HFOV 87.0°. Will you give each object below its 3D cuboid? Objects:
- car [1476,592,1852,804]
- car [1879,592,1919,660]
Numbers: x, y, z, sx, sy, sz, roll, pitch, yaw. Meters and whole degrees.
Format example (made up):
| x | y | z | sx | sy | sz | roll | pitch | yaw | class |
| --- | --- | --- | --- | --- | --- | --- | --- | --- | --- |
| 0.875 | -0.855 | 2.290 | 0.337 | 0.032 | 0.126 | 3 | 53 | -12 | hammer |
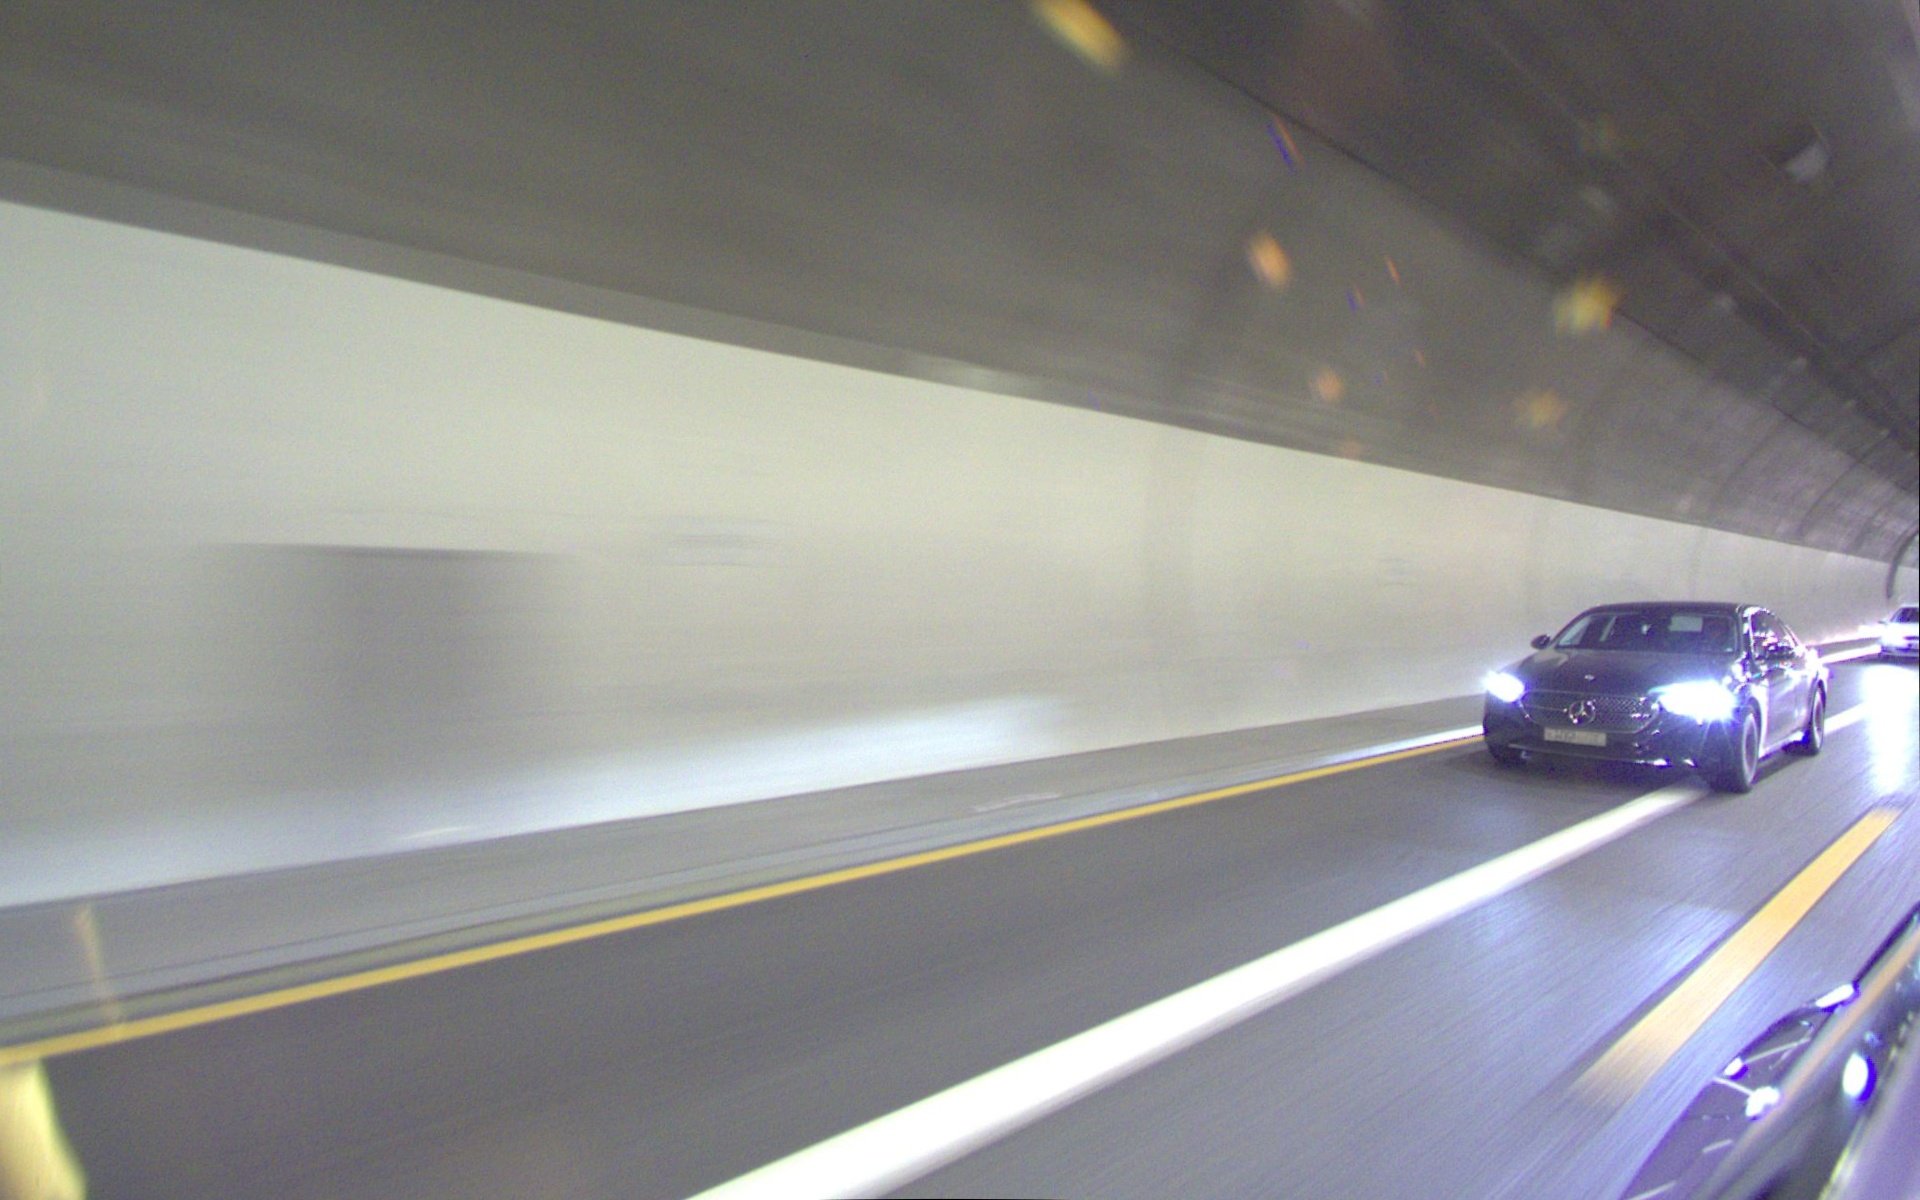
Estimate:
| x | y | z | sx | sy | sz | roll | pitch | yaw | class |
| --- | --- | --- | --- | --- | --- | --- | --- | --- | --- |
| 6.621 | 0.686 | 9.315 | 4.442 | 1.496 | 1.824 | 0 | 0 | -41 | car |
| 24.228 | 0.583 | 24.800 | 4.660 | 1.560 | 1.997 | -1 | 0 | -41 | car |
